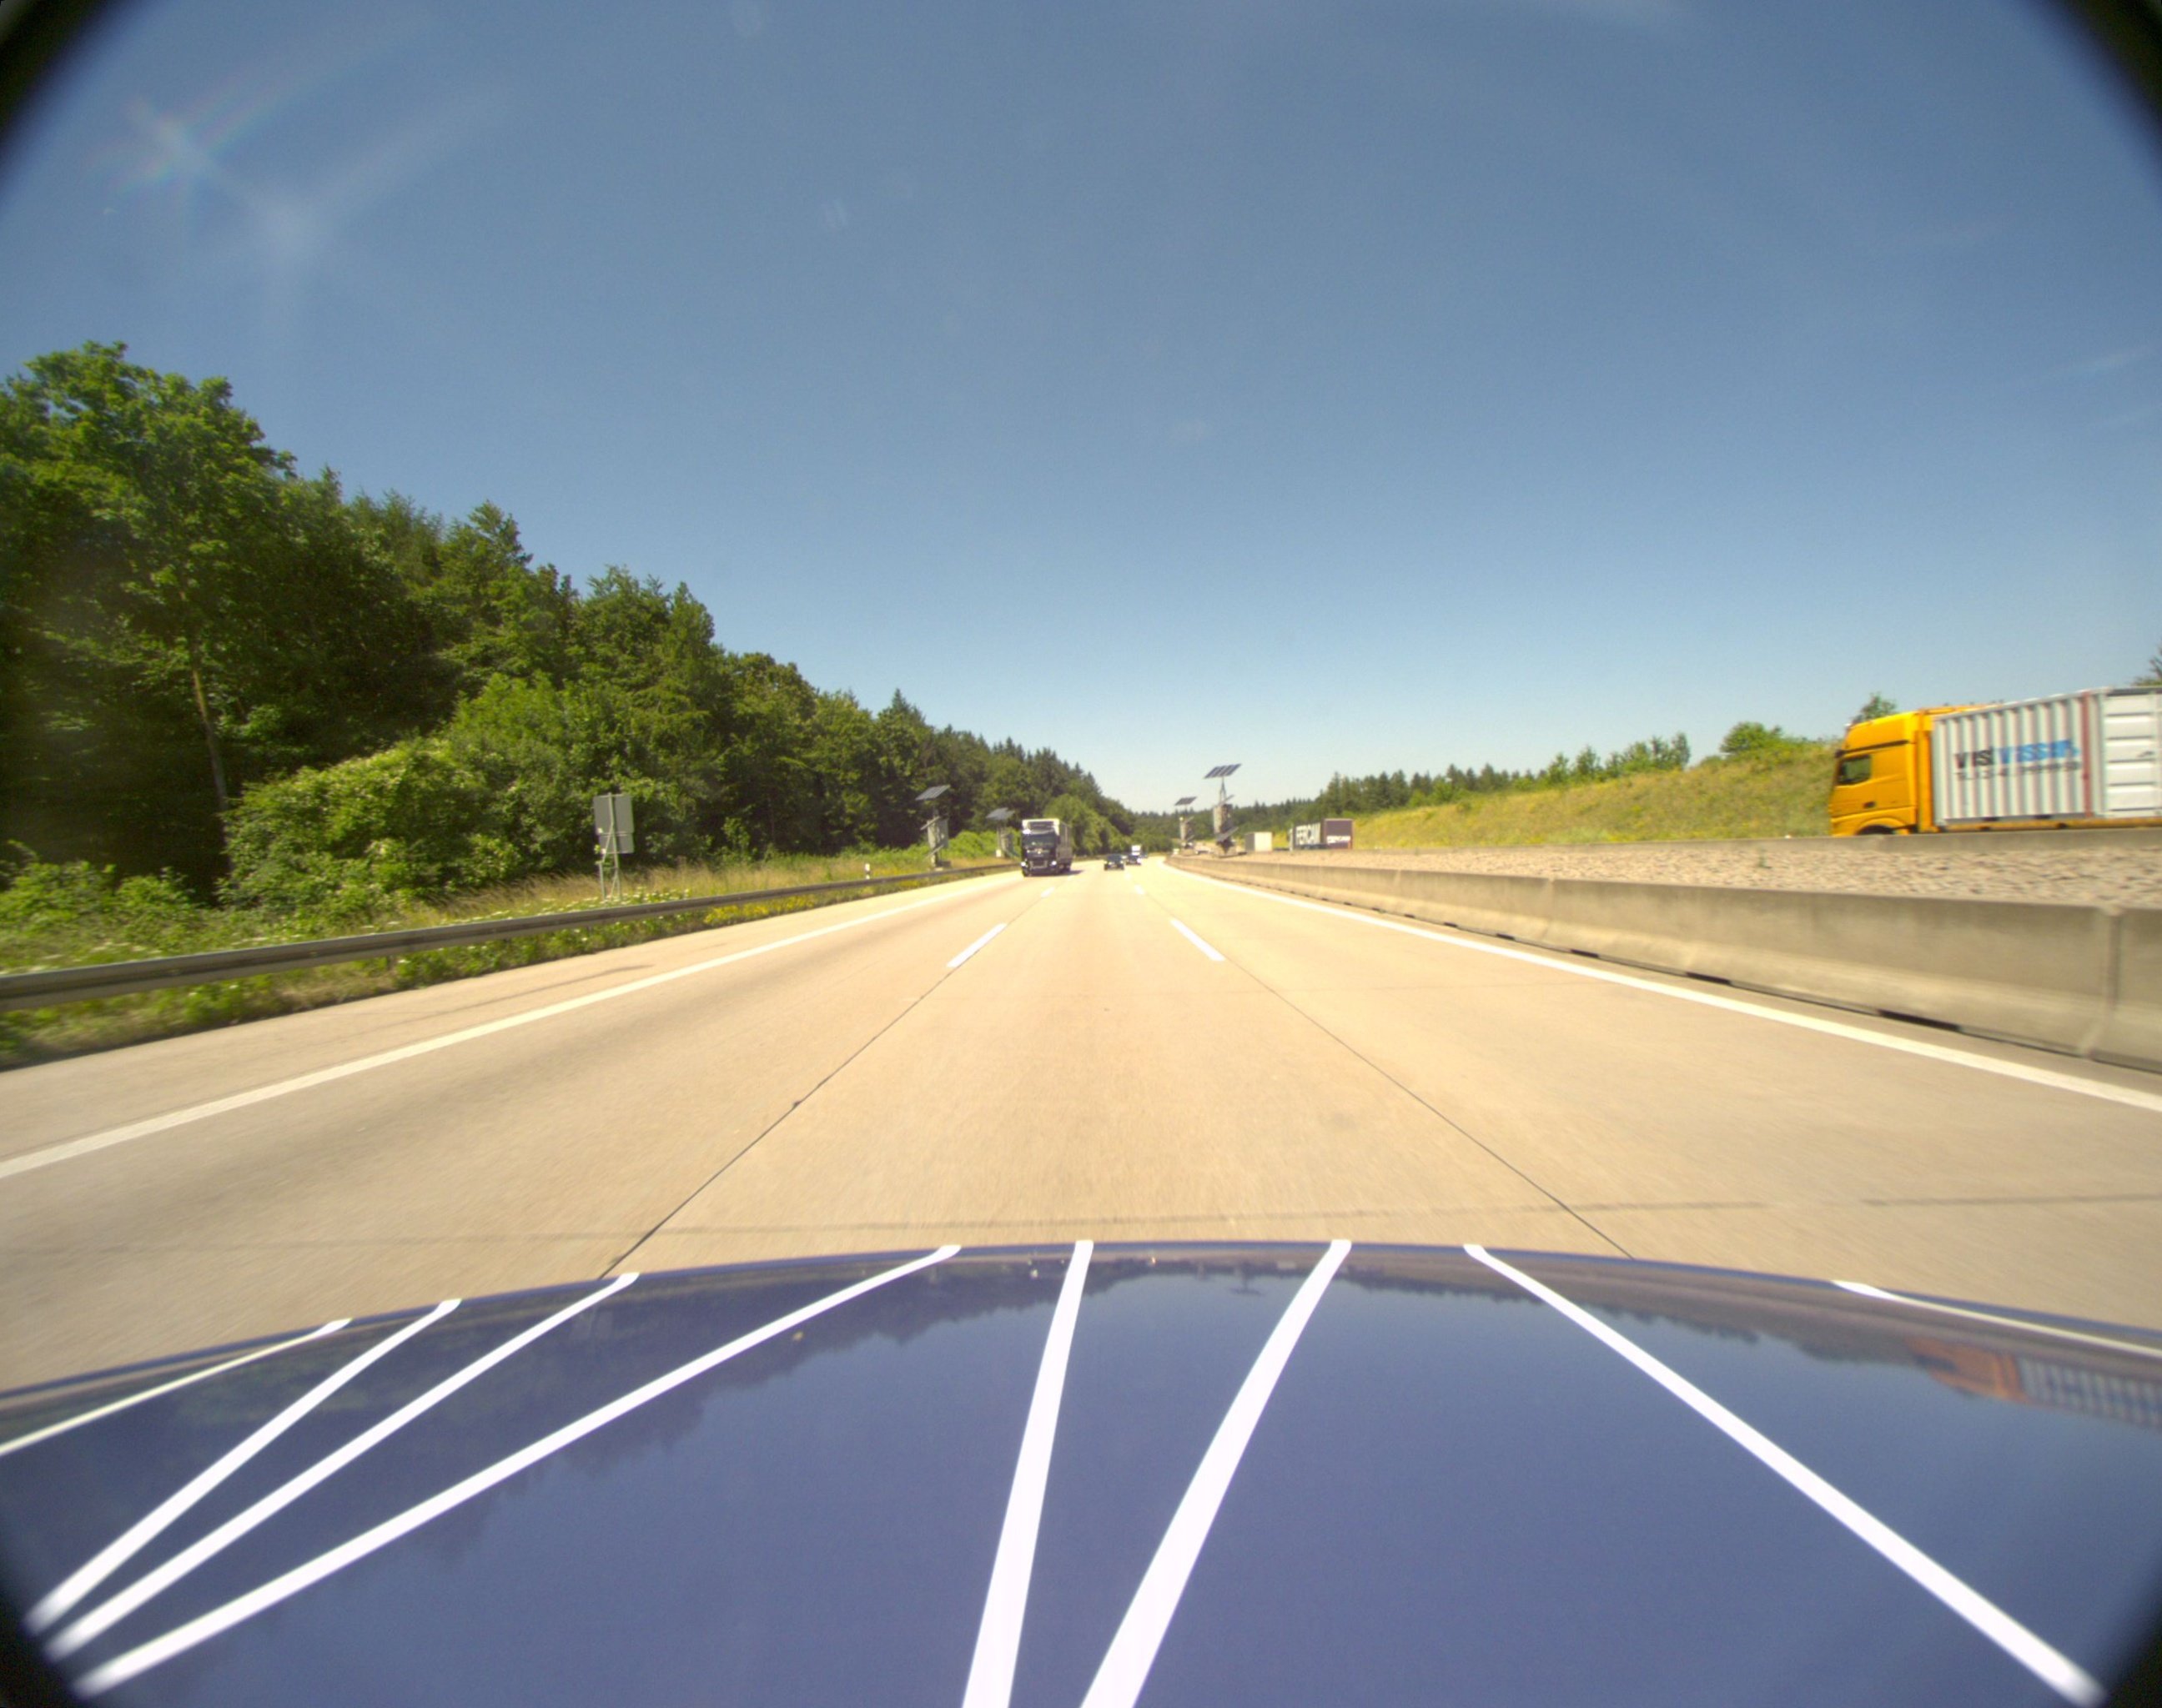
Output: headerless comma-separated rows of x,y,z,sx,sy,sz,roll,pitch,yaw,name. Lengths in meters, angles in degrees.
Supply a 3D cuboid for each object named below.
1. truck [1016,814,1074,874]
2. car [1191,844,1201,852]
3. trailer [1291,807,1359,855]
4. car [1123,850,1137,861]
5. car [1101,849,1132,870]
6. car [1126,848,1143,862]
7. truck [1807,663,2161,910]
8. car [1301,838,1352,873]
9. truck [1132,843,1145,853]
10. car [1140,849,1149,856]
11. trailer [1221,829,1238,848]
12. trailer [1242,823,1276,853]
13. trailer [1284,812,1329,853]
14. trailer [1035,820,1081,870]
-2.502,-0.689,57.046,3.167,3.993,10.609,-2,0,3,truck
28.118,-1.442,185.947,1.998,1.903,4.001,-1,1,4,car
23.981,-2.190,75.706,2.940,4.144,13.191,-4,1,3,trailer
8.547,0.243,131.608,1.998,1.694,4.401,-4,0,7,car
3.302,0.489,69.066,1.929,1.694,4.403,-4,0,13,car
6.499,0.113,92.047,1.842,1.547,4.000,-4,1,2,car
21.201,-1.273,15.065,2.921,4.487,11.258,-2,0,1,truck
15.124,0.083,47.044,1.998,2.002,4.000,-1,1,2,car
16.285,-1.681,214.874,2.481,2.779,5.920,-4,0,13,truck
15.870,-0.293,188.891,1.841,1.547,4.002,-4,1,9,car
34.309,-3.544,175.979,2.939,4.144,14.394,-4,1,8,trailer
27.501,-2.407,117.865,2.940,4.144,14.391,-4,1,5,trailer
24.337,-2.268,82.515,2.940,4.144,6.891,-4,1,3,trailer
-1.925,-0.758,66.861,3.142,3.993,9.089,-2,0,3,trailer
